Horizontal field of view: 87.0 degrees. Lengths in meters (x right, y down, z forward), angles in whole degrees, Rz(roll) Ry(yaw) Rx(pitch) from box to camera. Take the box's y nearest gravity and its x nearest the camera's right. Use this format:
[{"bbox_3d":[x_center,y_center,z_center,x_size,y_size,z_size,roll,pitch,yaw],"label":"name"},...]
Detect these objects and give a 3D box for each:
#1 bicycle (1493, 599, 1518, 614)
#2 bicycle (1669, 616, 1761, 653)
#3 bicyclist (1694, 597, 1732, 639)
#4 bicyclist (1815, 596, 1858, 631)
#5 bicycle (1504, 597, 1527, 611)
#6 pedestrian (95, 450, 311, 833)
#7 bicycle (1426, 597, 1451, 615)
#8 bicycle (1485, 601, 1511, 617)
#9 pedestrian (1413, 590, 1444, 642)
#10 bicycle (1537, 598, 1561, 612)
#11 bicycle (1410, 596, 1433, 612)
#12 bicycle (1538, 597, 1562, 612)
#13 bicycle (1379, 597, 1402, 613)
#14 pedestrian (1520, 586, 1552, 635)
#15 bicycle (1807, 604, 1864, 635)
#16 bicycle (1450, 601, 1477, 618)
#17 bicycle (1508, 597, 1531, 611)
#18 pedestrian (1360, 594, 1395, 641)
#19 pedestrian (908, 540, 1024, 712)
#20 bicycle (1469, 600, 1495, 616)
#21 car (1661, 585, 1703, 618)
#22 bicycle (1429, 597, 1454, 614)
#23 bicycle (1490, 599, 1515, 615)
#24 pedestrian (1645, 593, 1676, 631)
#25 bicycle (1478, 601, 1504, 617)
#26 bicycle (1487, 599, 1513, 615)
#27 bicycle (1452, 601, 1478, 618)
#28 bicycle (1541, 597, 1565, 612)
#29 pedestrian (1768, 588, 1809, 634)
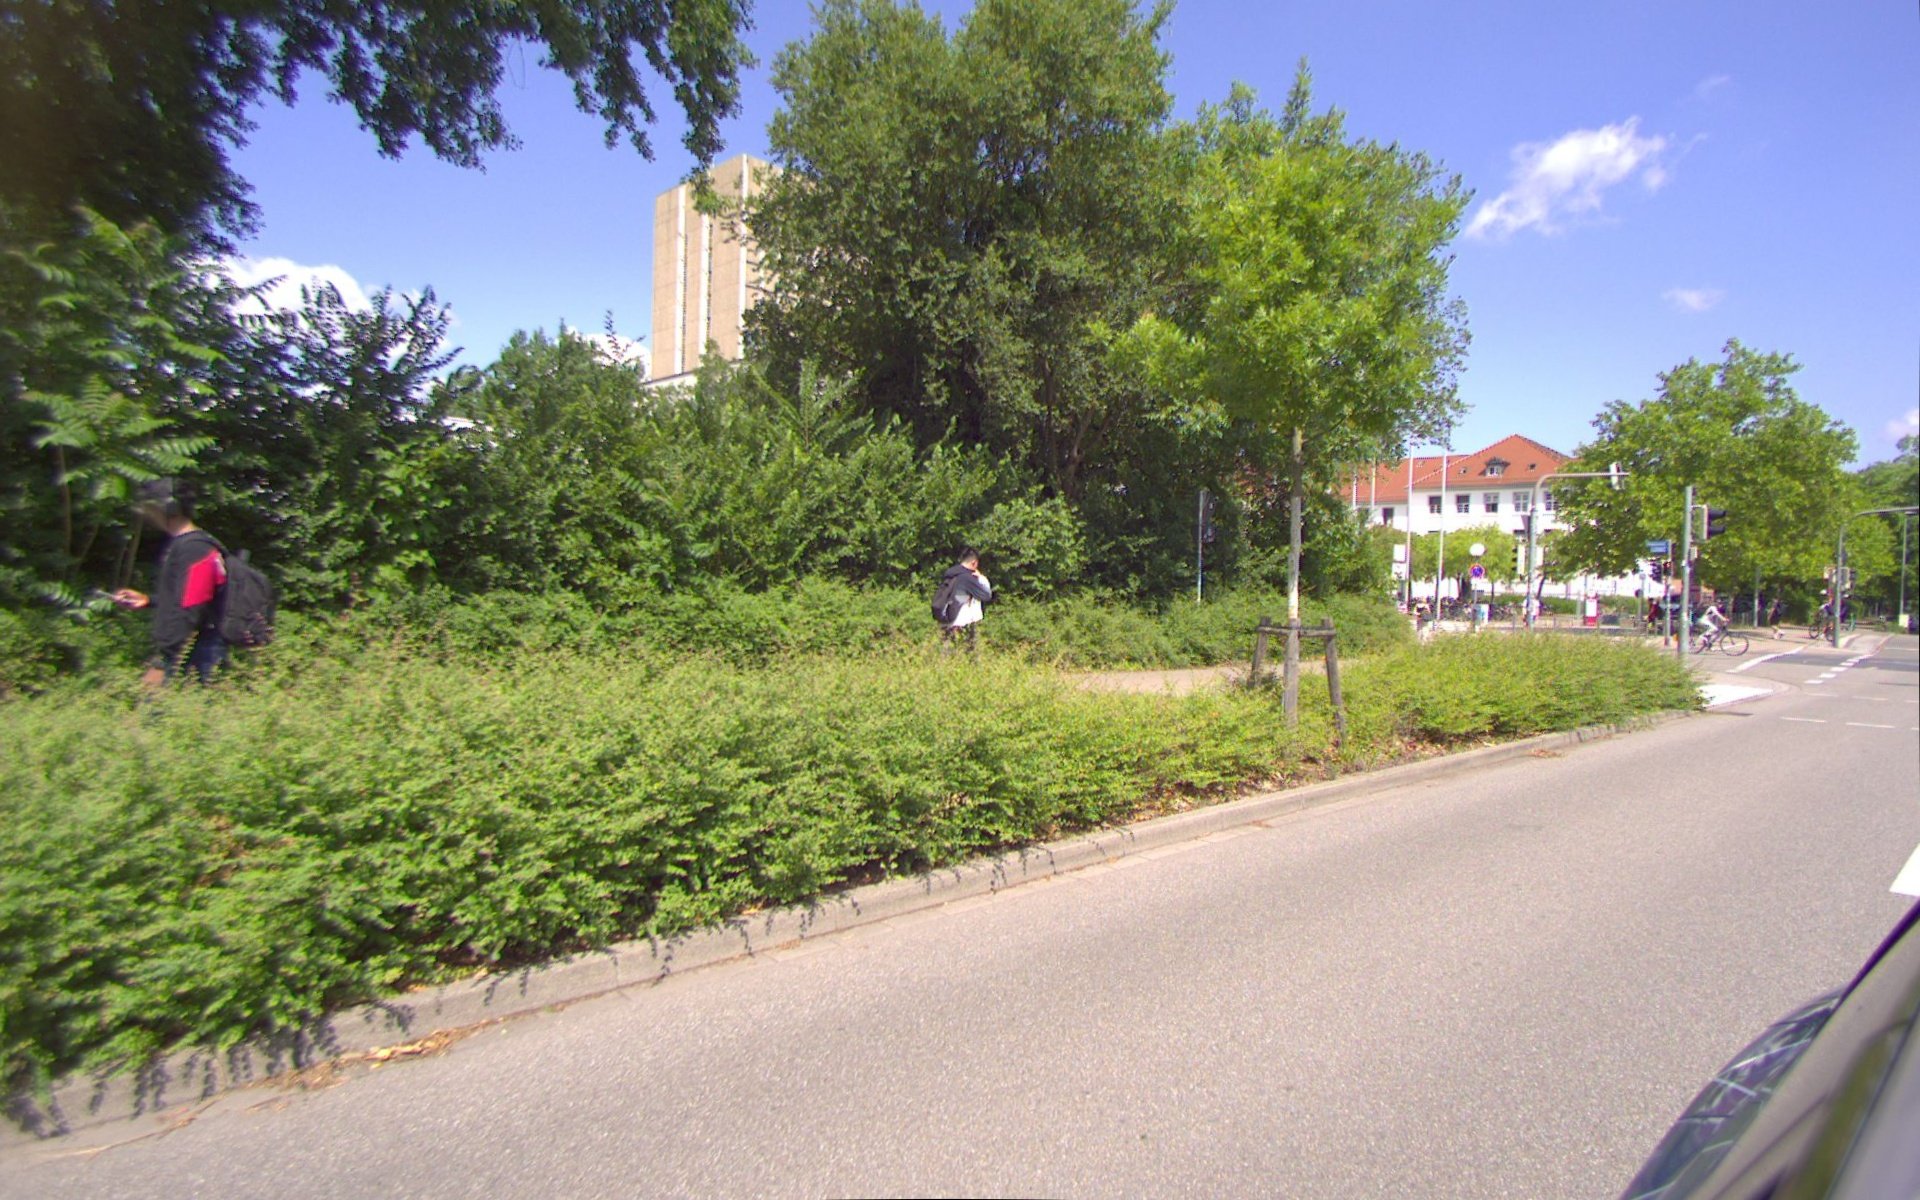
[{"bbox_3d":[35.174,0.416,65.253,1.367,0.963,0.347,2,1,42],"label":"bicycle"},{"bbox_3d":[22.994,1.029,30.874,2.146,1.011,0.640,2,1,31],"label":"bicycle"},{"bbox_3d":[22.969,0.530,30.878,0.827,1.241,0.612,2,1,31],"label":"bicyclist"},{"bbox_3d":[38.220,0.572,44.129,0.956,1.462,1.074,1,1,10],"label":"bicyclist"},{"bbox_3d":[40.033,0.270,72.942,1.424,0.963,0.347,2,1,42],"label":"bicycle"},{"bbox_3d":[-3.852,0.181,5.151,0.822,1.743,0.717,0,1,-41],"label":"pedestrian"},{"bbox_3d":[29.810,0.370,63.049,1.367,1.013,0.347,2,1,42],"label":"bicycle"},{"bbox_3d":[33.312,0.557,62.680,1.367,0.963,0.347,2,1,42],"label":"bicycle"},{"bbox_3d":[14.992,0.503,32.393,0.632,1.646,0.636,1,1,-7],"label":"pedestrian"},{"bbox_3d":[41.712,0.333,71.698,1.424,0.963,0.347,2,1,42],"label":"bicycle"},{"bbox_3d":[31.081,0.266,68.160,1.365,0.963,0.347,2,1,40],"label":"bicycle"},{"bbox_3d":[42.024,0.326,72.103,1.424,0.963,0.347,2,1,42],"label":"bicycle"},{"bbox_3d":[27.681,0.302,65.122,0.346,0.963,1.371,1,1,-39],"label":"bicycle"},{"bbox_3d":[22.939,0.417,40.300,0.876,1.896,0.957,2,1,43],"label":"pedestrian"},{"bbox_3d":[38.243,0.825,44.250,0.871,1.267,2.159,1,1,10],"label":"bicycle"},{"bbox_3d":[30.313,0.575,60.950,1.367,0.963,0.347,2,1,42],"label":"bicycle"},{"bbox_3d":[40.552,0.266,73.348,1.424,0.963,0.347,2,1,42],"label":"bicycle"},{"bbox_3d":[13.331,0.559,32.294,0.643,1.435,0.789,4,0,-7],"label":"pedestrian"},{"bbox_3d":[0.062,0.253,10.827,0.913,1.743,0.815,0,1,-41],"label":"pedestrian"},{"bbox_3d":[32.064,0.485,62.125,1.367,0.963,0.347,2,1,42],"label":"bicycle"},{"bbox_3d":[47.151,0.083,66.070,1.990,2.080,4.169,2,1,39],"label":"car"},{"bbox_3d":[30.153,0.358,63.414,1.367,1.013,0.347,2,1,42],"label":"bicycle"},{"bbox_3d":[34.718,0.437,64.791,1.367,0.963,0.347,2,1,42],"label":"bicycle"},{"bbox_3d":[30.504,0.522,44.081,1.056,1.617,0.960,1,1,33],"label":"pedestrian"},{"bbox_3d":[32.704,0.564,62.316,1.367,0.963,0.347,2,1,42],"label":"bicycle"},{"bbox_3d":[34.299,0.463,64.304,1.367,0.963,0.347,2,1,42],"label":"bicycle"},{"bbox_3d":[30.648,0.560,61.412,1.367,0.958,0.347,2,1,42],"label":"bicycle"},{"bbox_3d":[42.441,0.321,72.490,1.424,0.963,0.347,2,1,42],"label":"bicycle"},{"bbox_3d":[35.914,0.489,43.874,0.951,1.950,1.034,1,1,-21],"label":"pedestrian"}]
